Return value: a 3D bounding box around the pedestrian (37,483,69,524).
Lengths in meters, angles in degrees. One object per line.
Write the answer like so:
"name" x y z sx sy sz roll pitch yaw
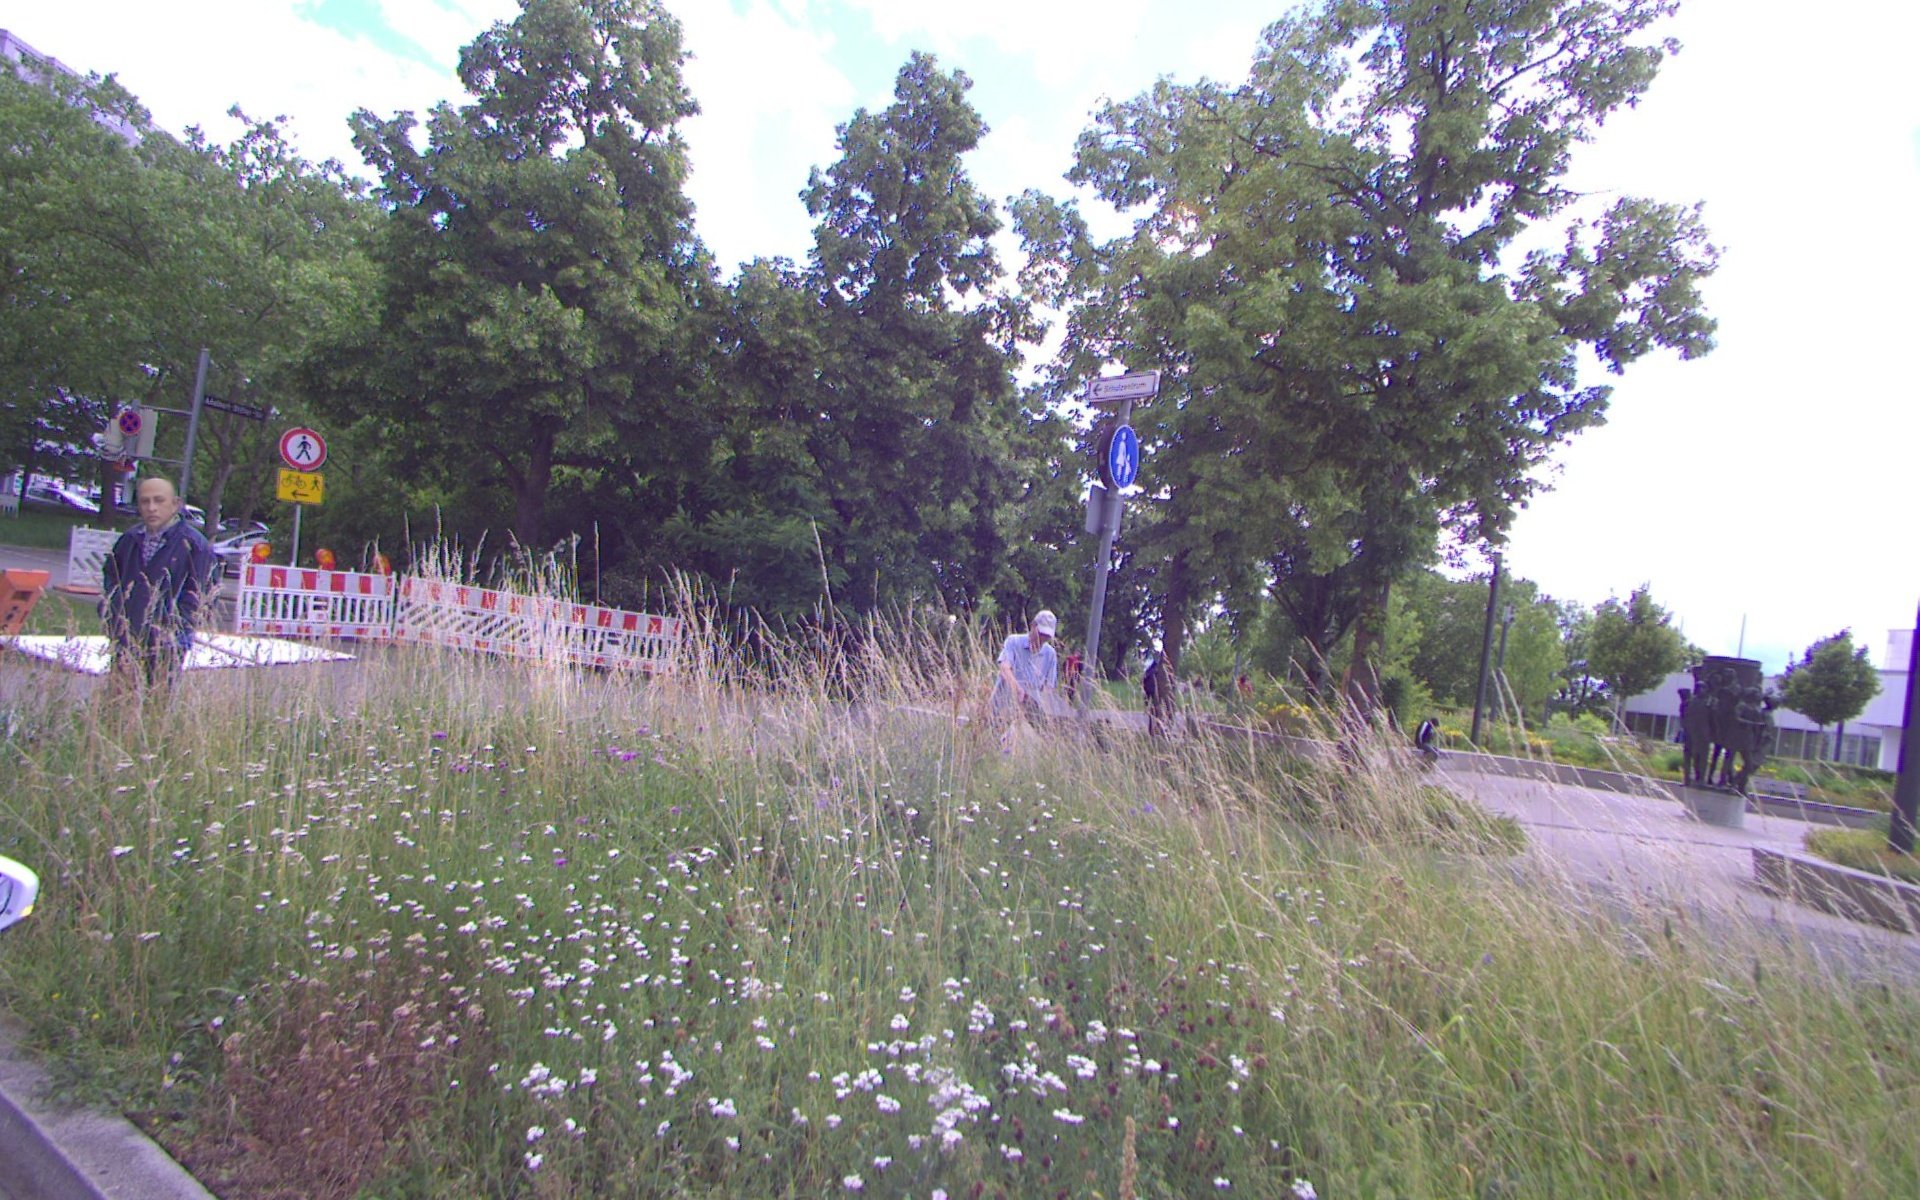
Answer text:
"pedestrian" -47.907 -5.097 53.142 0.839 2.025 0.806 7 -1 29

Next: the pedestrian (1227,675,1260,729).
"pedestrian" 8.458 3.044 29.988 0.624 1.519 0.704 7 0 29

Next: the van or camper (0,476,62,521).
"van or camper" -44.304 -4.848 46.497 3.925 1.704 1.847 8 -1 4

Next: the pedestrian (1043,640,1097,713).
"pedestrian" 2.796 1.936 25.511 0.974 1.671 0.871 7 0 21

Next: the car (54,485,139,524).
"car" -54.457 -5.993 63.459 3.751 1.653 1.674 9 -1 1

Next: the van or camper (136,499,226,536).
"van or camper" -43.735 -4.624 56.533 3.706 1.372 1.519 8 -2 -1

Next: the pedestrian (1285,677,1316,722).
"pedestrian" 13.751 3.992 40.583 0.974 1.671 0.871 7 0 21

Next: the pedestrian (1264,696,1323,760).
"pedestrian" 5.213 1.985 15.706 0.685 0.874 0.651 7 0 28

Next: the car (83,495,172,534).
"car" -43.768 -4.495 52.939 3.345 1.420 1.486 7 -2 2

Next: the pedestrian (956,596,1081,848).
"pedestrian" 0.471 0.931 7.949 0.715 1.812 0.694 8 0 6

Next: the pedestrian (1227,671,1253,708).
"pedestrian" 13.979 4.442 50.153 0.974 1.671 0.871 7 0 21

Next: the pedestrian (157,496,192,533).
"pedestrian" -45.086 -4.931 57.757 1.040 1.893 1.076 7 -1 24

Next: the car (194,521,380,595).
"car" -20.986 -1.281 31.573 1.744 1.604 4.405 6 -2 33

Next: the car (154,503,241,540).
"car" -44.632 -4.599 58.896 3.820 1.482 1.486 7 -1 1

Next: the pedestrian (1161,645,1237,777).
"pedestrian" 3.334 1.534 14.035 0.685 1.715 0.651 7 0 28

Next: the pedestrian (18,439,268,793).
"pedestrian" -4.521 0.095 5.658 0.719 1.761 0.950 8 -1 -27

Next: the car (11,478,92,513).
"car" -54.438 -6.251 60.326 3.345 1.420 1.486 7 -2 1

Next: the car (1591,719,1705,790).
"car" 22.787 5.073 33.476 1.606 1.786 3.509 7 -2 9

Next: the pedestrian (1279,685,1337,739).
"pedestrian" 7.176 2.307 20.758 0.703 0.959 0.747 8 -1 -21

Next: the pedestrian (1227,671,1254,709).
"pedestrian" 13.218 4.233 47.409 0.974 1.671 0.871 7 0 21

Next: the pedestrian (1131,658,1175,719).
"pedestrian" 5.829 2.650 30.308 0.974 1.671 0.871 7 0 21

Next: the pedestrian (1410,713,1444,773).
"pedestrian" 10.767 3.284 23.186 0.560 1.277 0.582 7 -1 29
